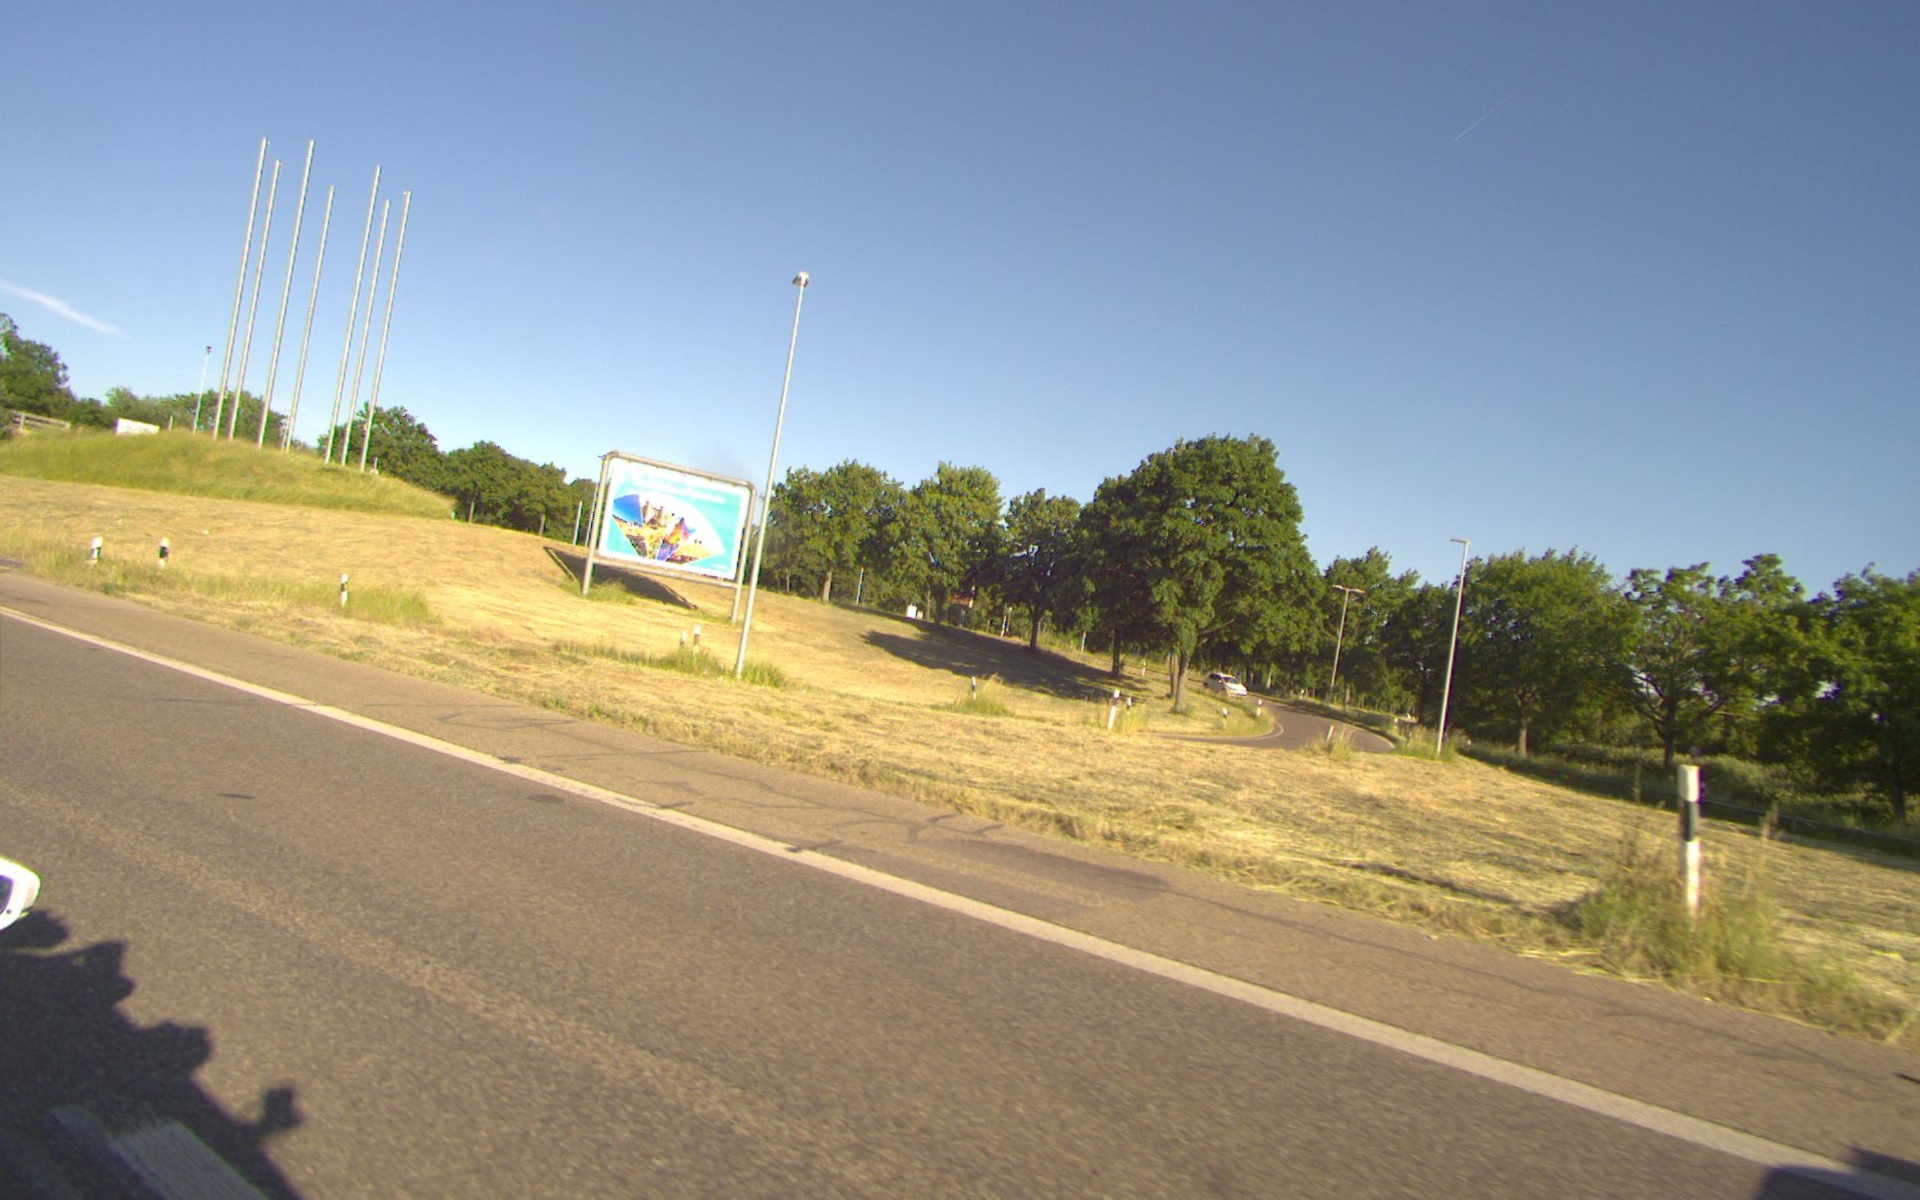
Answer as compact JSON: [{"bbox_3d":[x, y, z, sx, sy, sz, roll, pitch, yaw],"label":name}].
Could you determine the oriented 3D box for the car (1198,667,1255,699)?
[{"bbox_3d":[19.147,5.951,72.498,1.843,1.711,3.982,8,-1,-20],"label":"car"}]
